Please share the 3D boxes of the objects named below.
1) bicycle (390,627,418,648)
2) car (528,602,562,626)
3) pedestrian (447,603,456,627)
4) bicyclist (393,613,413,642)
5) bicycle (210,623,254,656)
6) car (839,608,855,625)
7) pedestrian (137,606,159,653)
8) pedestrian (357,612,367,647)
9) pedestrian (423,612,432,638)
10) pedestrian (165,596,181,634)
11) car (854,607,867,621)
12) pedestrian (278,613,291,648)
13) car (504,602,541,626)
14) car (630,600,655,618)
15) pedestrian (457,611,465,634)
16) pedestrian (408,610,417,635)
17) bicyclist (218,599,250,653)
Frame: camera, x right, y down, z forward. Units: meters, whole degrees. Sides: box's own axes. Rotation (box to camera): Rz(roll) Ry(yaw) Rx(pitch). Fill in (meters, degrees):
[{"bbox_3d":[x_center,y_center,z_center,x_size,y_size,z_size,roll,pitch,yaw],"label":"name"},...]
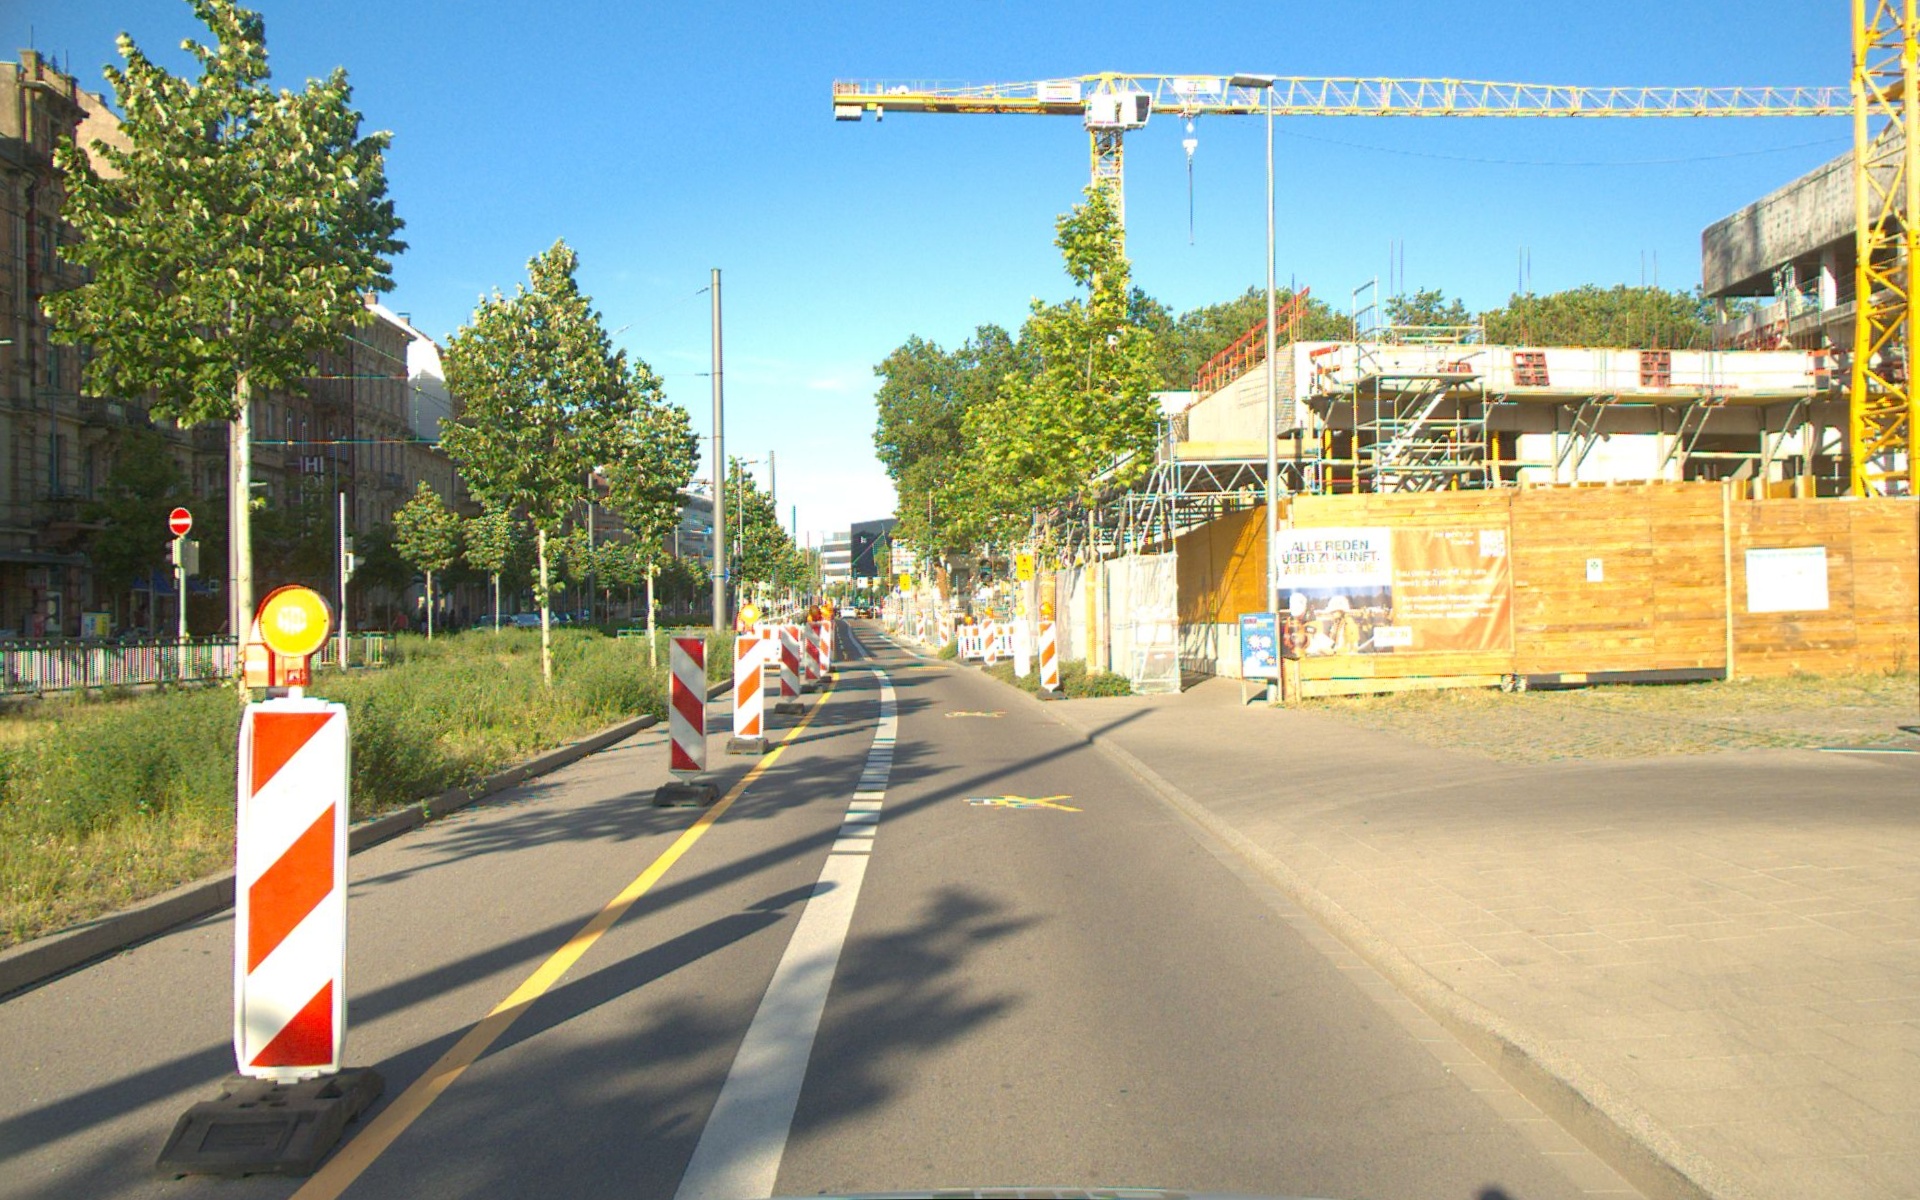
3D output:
[{"bbox_3d":[-24.479,1.660,72.843,0.624,0.873,2.030,0,0,-3],"label":"bicycle"},{"bbox_3d":[-29.241,0.975,116.631,1.536,1.590,4.710,-1,0,-5],"label":"car"},{"bbox_3d":[-32.741,0.983,106.461,0.397,1.559,0.434,2,-1,-4],"label":"pedestrian"},{"bbox_3d":[-24.466,1.185,72.644,0.624,1.261,0.738,0,-1,-3],"label":"bicyclist"},{"bbox_3d":[-23.188,1.250,52.684,0.681,0.995,1.826,0,-1,-3],"label":"bicycle"},{"bbox_3d":[-13.317,1.924,194.095,1.846,1.875,3.664,-1,0,-4],"label":"car"},{"bbox_3d":[-28.595,1.042,58.237,0.477,1.612,0.533,2,-1,-4],"label":"pedestrian"},{"bbox_3d":[-31.272,1.550,86.463,0.359,1.795,0.406,2,-1,-4],"label":"pedestrian"},{"bbox_3d":[-33.924,1.583,105.310,0.420,1.612,0.338,2,-1,-3],"label":"pedestrian"},{"bbox_3d":[-33.187,0.635,69.744,0.377,1.612,0.390,1,-1,26],"label":"pedestrian"},{"bbox_3d":[-14.102,2.006,234.780,1.846,1.875,3.664,-1,0,-4],"label":"car"},{"bbox_3d":[-30.831,1.395,75.480,0.395,1.612,0.425,2,-1,-5],"label":"pedestrian"},{"bbox_3d":[-29.167,0.920,110.301,1.535,1.590,4.710,-1,0,-4],"label":"car"},{"bbox_3d":[-26.772,0.739,139.478,1.563,1.509,3.621,0,0,-3],"label":"car"},{"bbox_3d":[-35.246,1.587,116.899,0.452,1.612,0.434,2,-1,-11],"label":"pedestrian"},{"bbox_3d":[-34.840,1.426,105.276,0.425,1.612,0.385,2,-1,-7],"label":"pedestrian"},{"bbox_3d":[-23.200,0.823,52.850,0.681,1.686,0.881,0,-1,-3],"label":"bicyclist"}]
